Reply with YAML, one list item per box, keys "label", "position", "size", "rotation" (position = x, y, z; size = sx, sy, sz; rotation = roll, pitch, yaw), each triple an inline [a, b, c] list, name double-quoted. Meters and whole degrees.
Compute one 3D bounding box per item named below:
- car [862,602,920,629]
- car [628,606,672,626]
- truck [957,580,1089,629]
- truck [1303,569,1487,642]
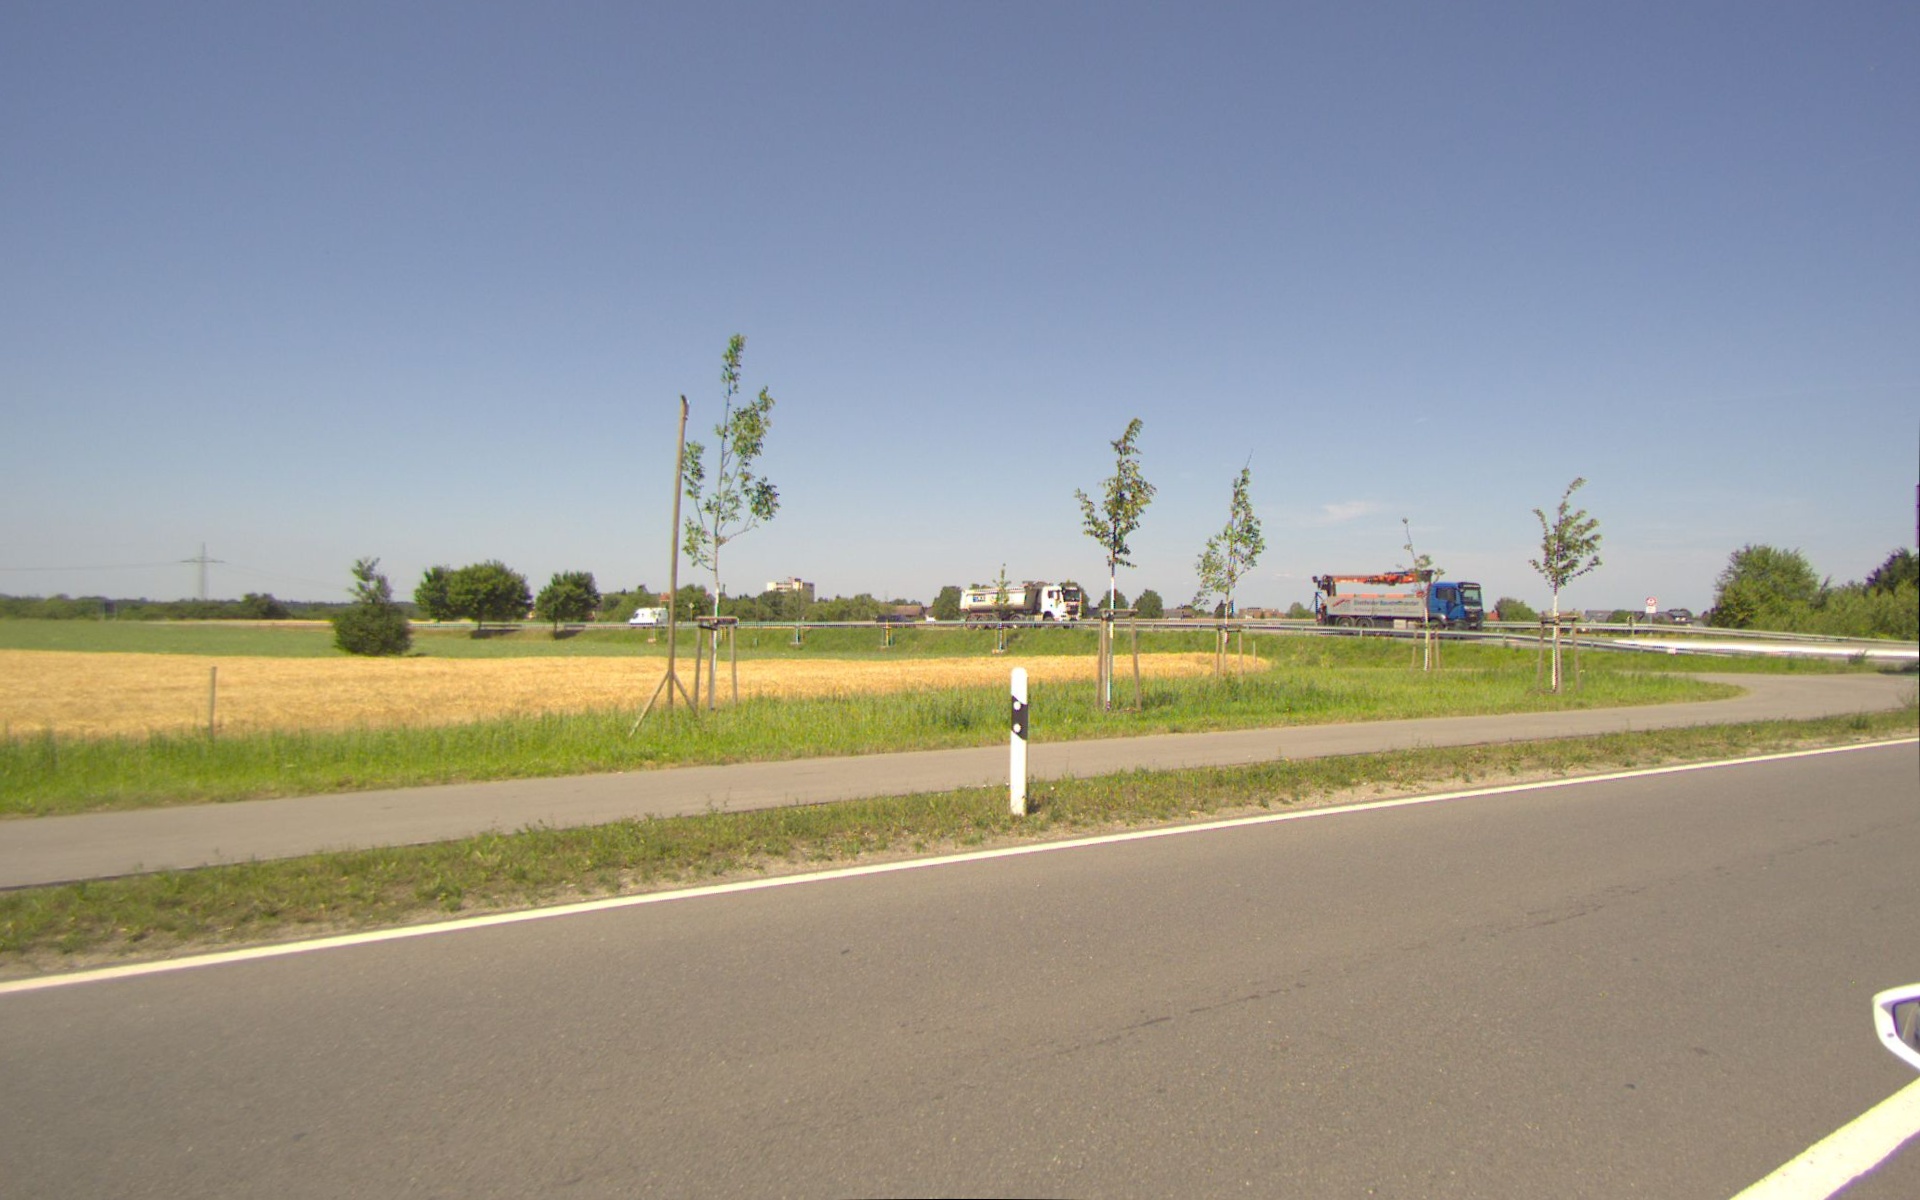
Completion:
- label: "car"
  position: [-6.742, 1.500, 97.624]
  size: [2.536, 2.454, 5.863]
  rotation: [1, 0, -42]
- label: "car"
  position: [-40.115, 2.099, 130.002]
  size: [5.837, 2.454, 2.241]
  rotation: [1, 0, 34]
- label: "truck"
  position: [4.780, 0.310, 80.197]
  size: [2.960, 3.663, 11.880]
  rotation: [1, 0, -42]
- label: "truck"
  position: [24.748, 0.270, 57.890]
  size: [2.597, 3.844, 10.025]
  rotation: [1, 0, -32]
